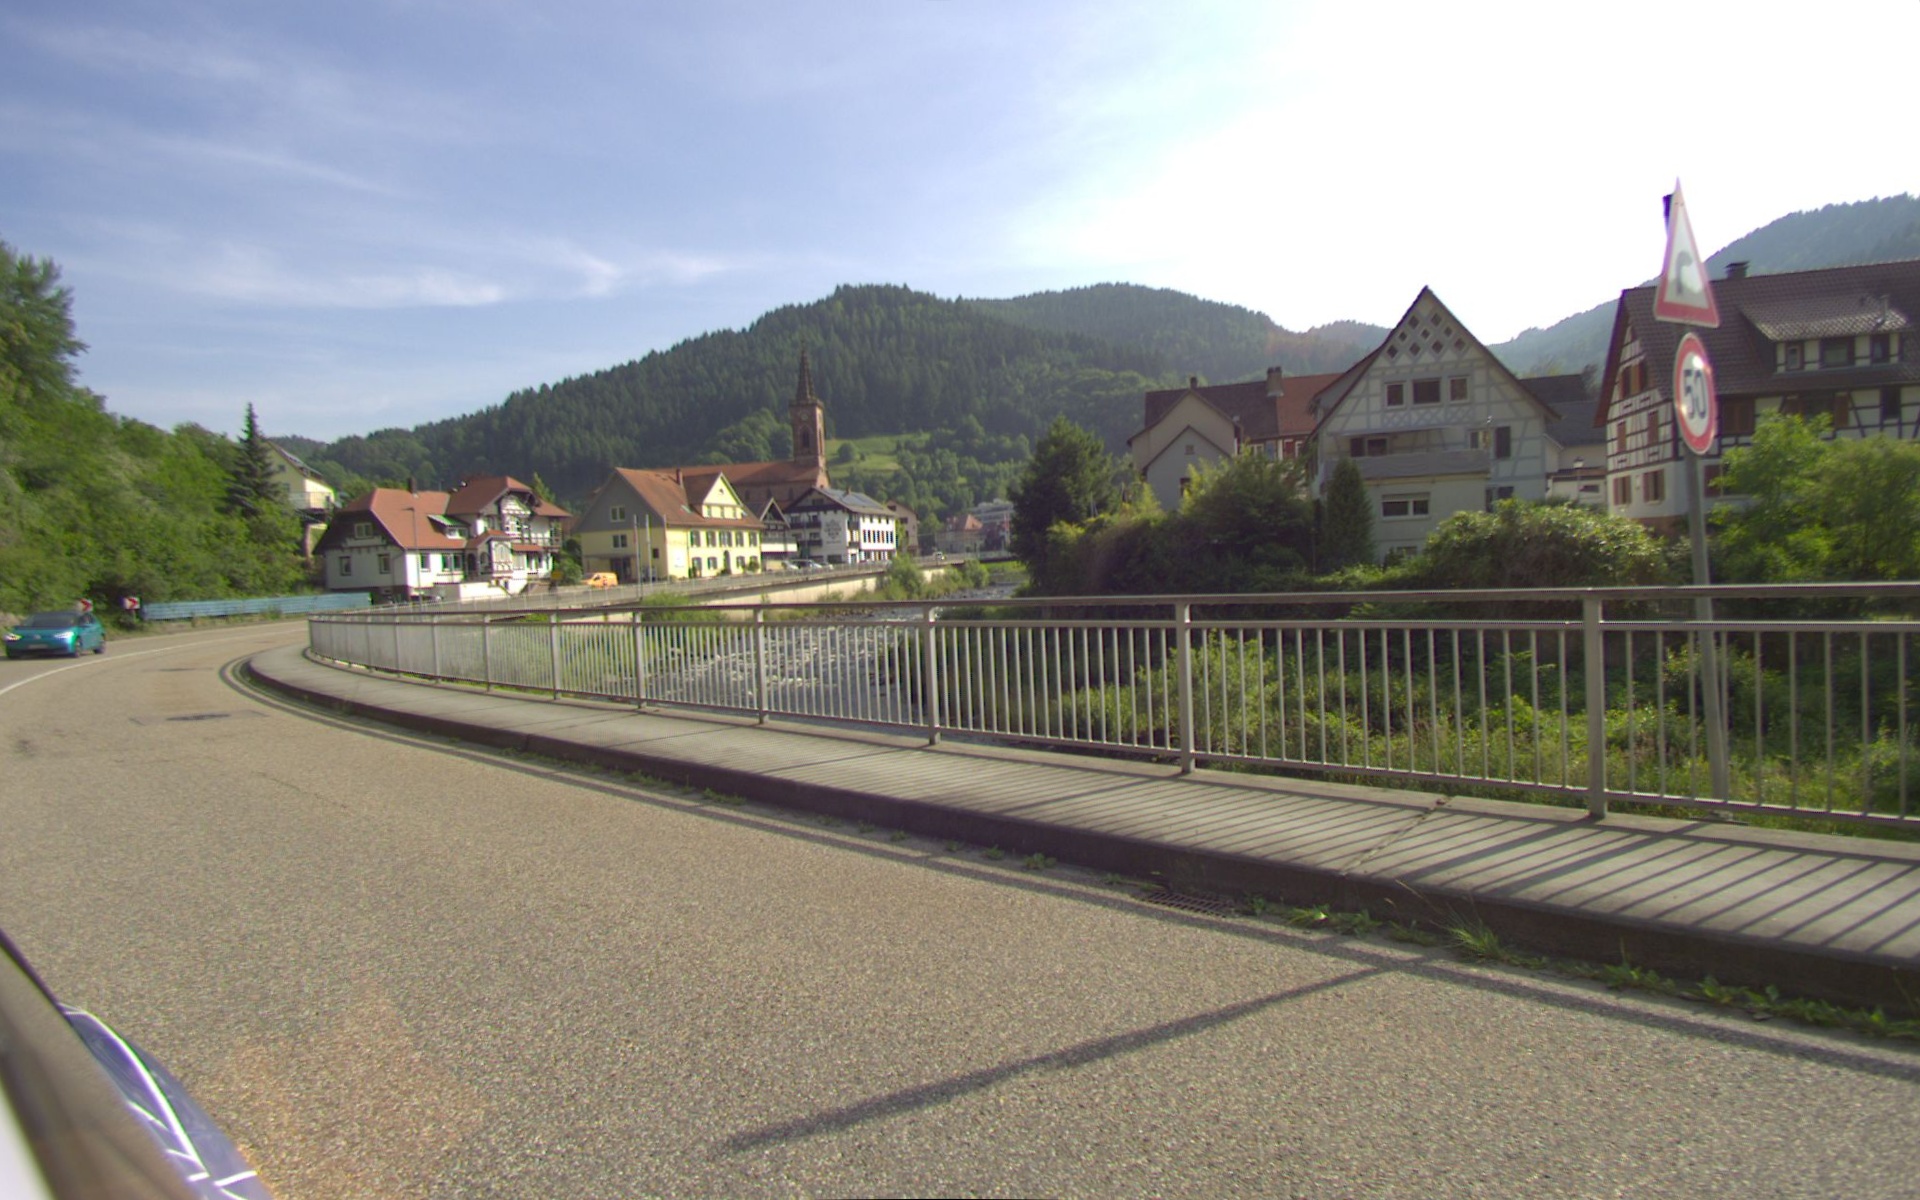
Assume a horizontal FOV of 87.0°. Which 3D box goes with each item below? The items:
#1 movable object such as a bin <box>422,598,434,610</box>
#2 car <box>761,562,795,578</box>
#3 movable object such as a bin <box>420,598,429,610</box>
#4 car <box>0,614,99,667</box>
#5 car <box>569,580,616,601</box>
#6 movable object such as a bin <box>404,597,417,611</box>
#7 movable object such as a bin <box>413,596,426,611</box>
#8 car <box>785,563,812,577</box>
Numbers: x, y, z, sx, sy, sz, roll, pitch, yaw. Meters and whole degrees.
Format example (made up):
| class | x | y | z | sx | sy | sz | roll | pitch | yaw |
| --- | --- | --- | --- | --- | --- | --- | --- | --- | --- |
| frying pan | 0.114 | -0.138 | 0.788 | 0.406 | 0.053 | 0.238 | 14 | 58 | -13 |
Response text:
| class | x | y | z | sx | sy | sz | roll | pitch | yaw |
| --- | --- | --- | --- | --- | --- | --- | --- | --- | --- |
| movable object such as a bin | -42.120 | 0.309 | 80.079 | 0.468 | 0.943 | 0.650 | -3 | 2 | 13 |
| car | -25.797 | -4.272 | 143.476 | 4.424 | 1.972 | 1.703 | 3 | 4 | 20 |
| movable object such as a bin | -42.552 | 0.347 | 80.382 | 0.364 | 0.906 | 0.546 | -3 | 2 | 7 |
| car | -30.022 | 1.291 | 33.415 | 1.655 | 1.533 | 3.878 | -2 | 1 | -30 |
| car | -37.240 | -0.997 | 102.677 | 1.899 | 2.012 | 4.808 | -2 | 1 | 17 |
| movable object such as a bin | -43.583 | 0.316 | 80.323 | 0.474 | 1.070 | 0.750 | -3 | 2 | 13 |
| movable object such as a bin | -42.981 | 0.279 | 80.541 | 0.474 | 1.070 | 0.750 | -3 | 2 | 13 |
| car | -23.246 | -4.370 | 145.480 | 3.731 | 1.907 | 1.363 | 2 | 4 | 20 |
